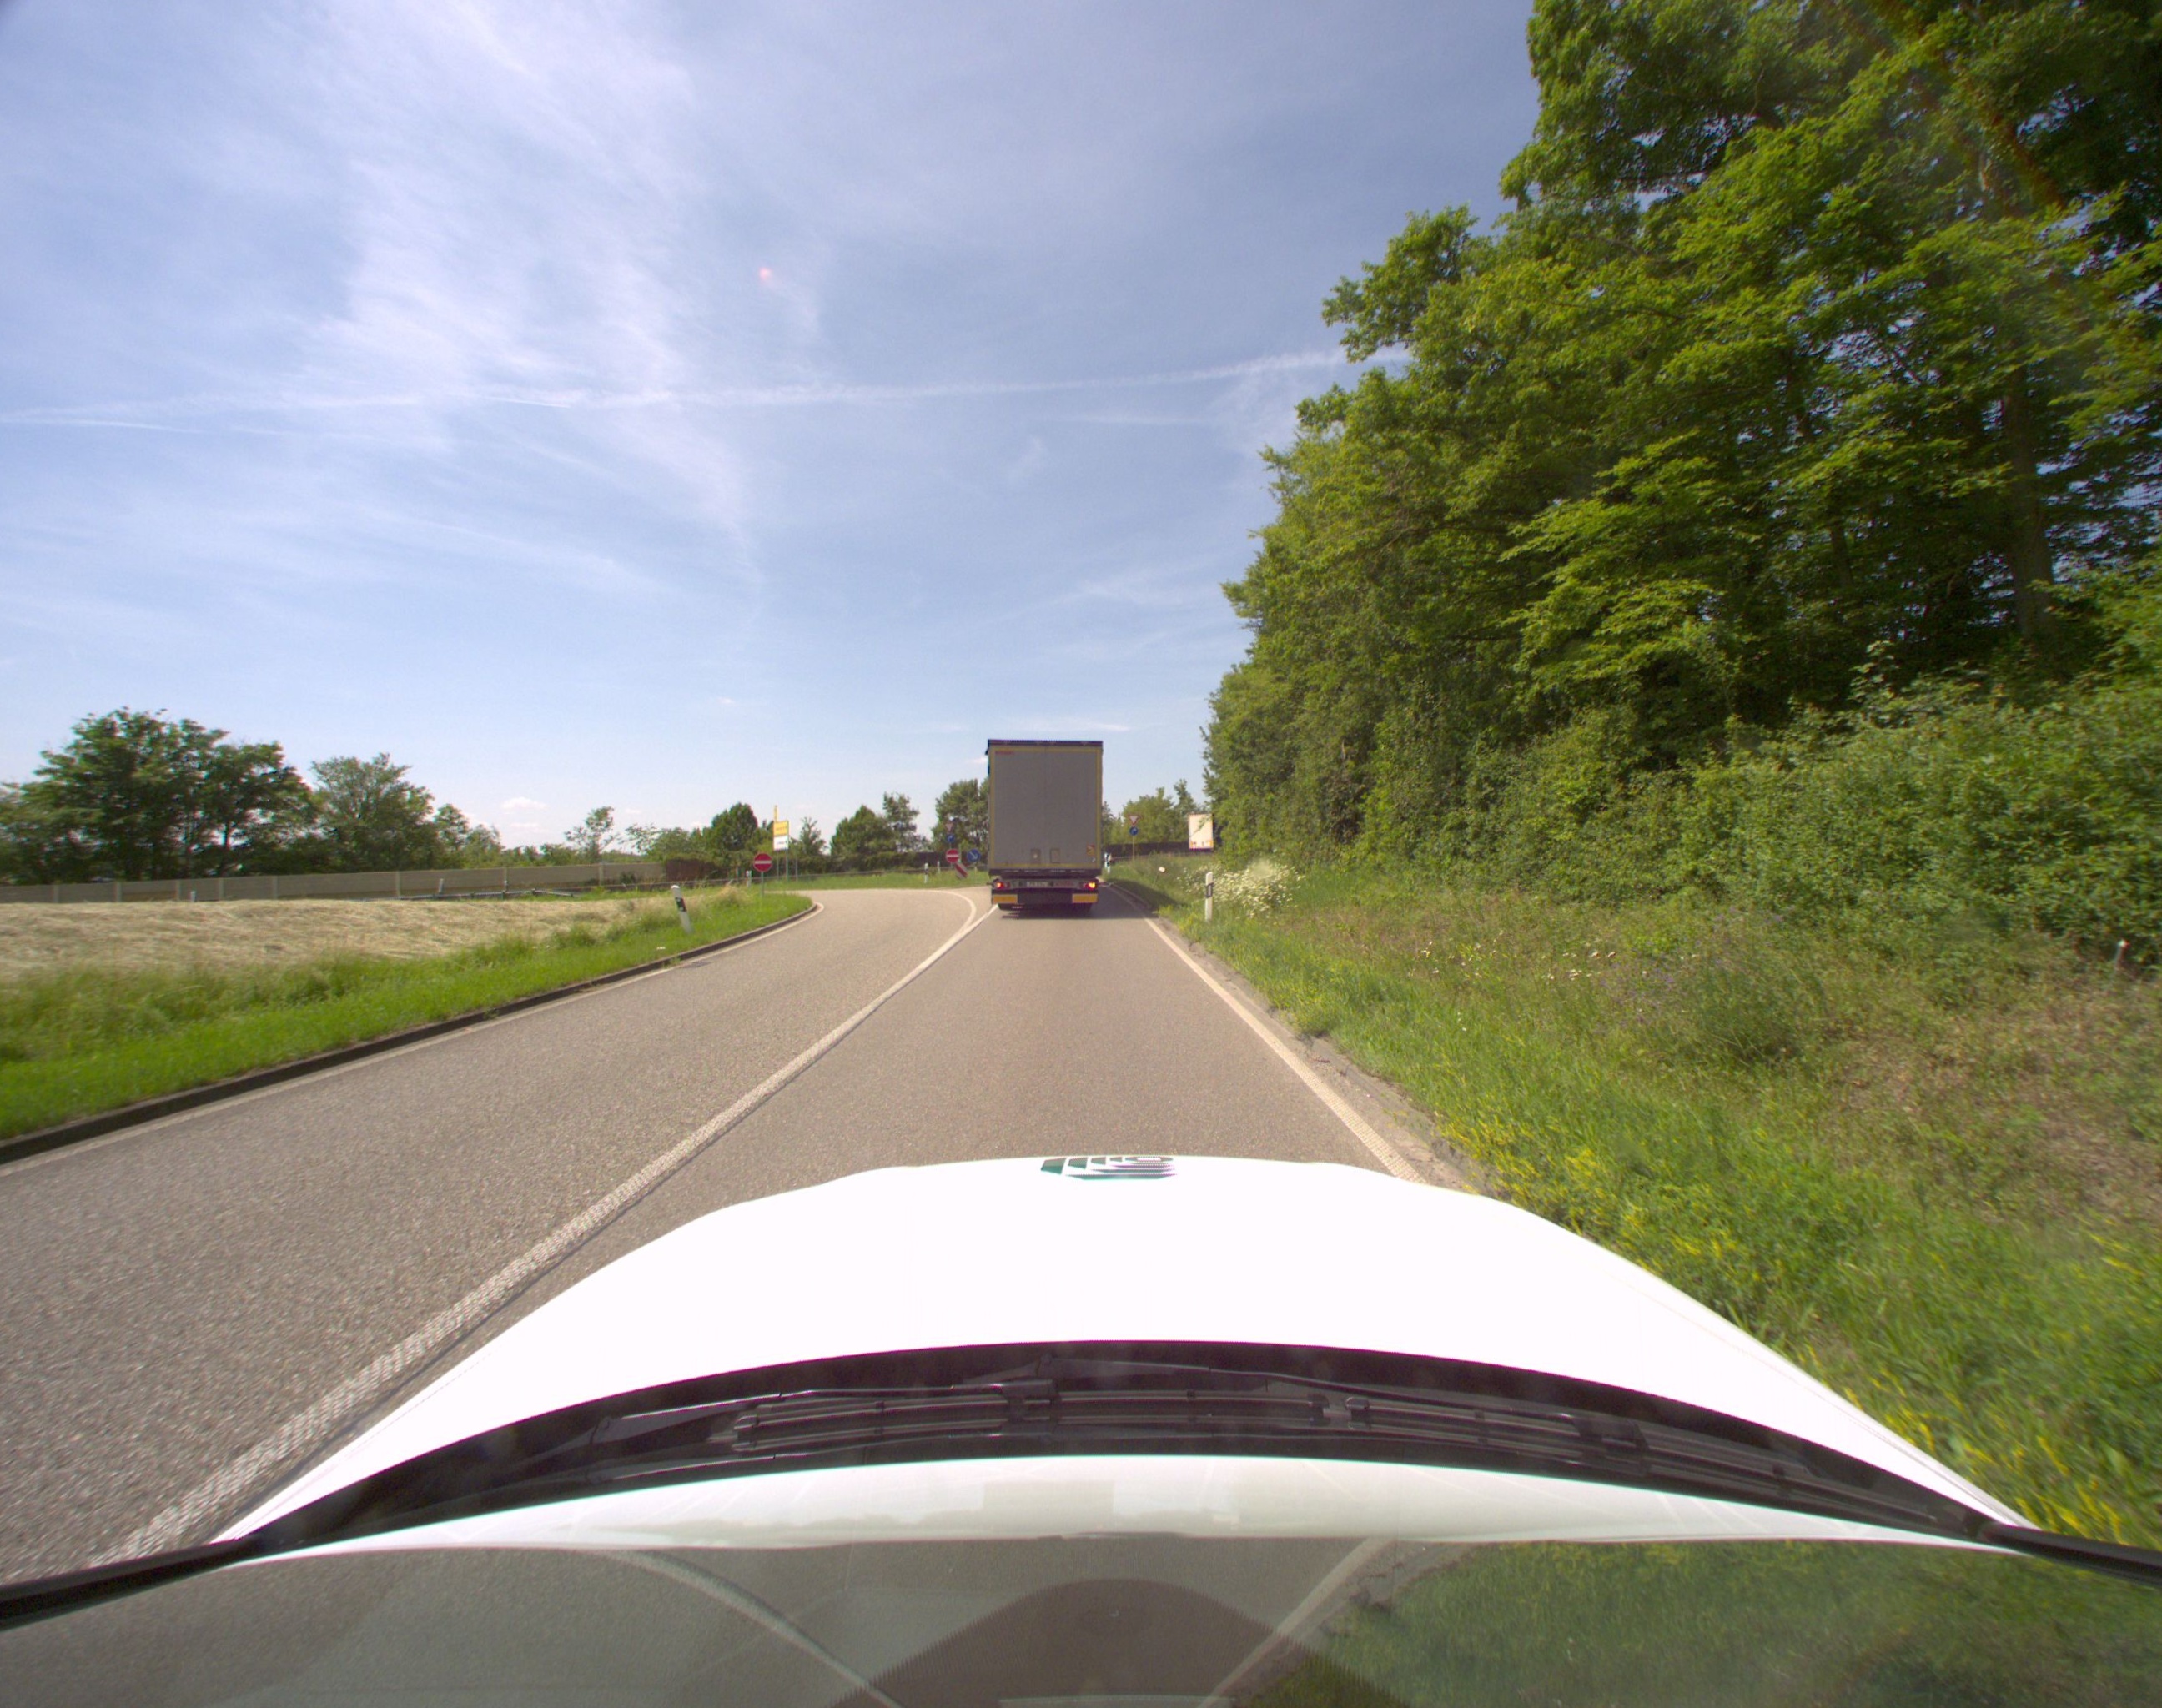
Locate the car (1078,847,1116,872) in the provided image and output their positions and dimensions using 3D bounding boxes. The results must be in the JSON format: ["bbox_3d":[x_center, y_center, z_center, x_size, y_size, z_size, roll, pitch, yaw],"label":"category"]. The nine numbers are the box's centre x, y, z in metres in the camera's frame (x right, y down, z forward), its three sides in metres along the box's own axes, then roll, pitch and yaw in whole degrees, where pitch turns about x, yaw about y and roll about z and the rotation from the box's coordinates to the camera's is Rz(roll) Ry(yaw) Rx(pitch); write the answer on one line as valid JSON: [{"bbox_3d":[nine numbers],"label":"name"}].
[{"bbox_3d":[1.115,0.357,54.142,1.654,1.486,4.015,-2,0,14],"label":"car"}]

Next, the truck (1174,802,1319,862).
[{"bbox_3d":[15.152,-2.014,72.664,16.295,4.744,3.794,-3,0,-43],"label":"truck"}]

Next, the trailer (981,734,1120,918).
[{"bbox_3d":[-0.782,-0.692,24.616,3.018,4.034,13.346,-1,1,-1],"label":"trailer"}]
